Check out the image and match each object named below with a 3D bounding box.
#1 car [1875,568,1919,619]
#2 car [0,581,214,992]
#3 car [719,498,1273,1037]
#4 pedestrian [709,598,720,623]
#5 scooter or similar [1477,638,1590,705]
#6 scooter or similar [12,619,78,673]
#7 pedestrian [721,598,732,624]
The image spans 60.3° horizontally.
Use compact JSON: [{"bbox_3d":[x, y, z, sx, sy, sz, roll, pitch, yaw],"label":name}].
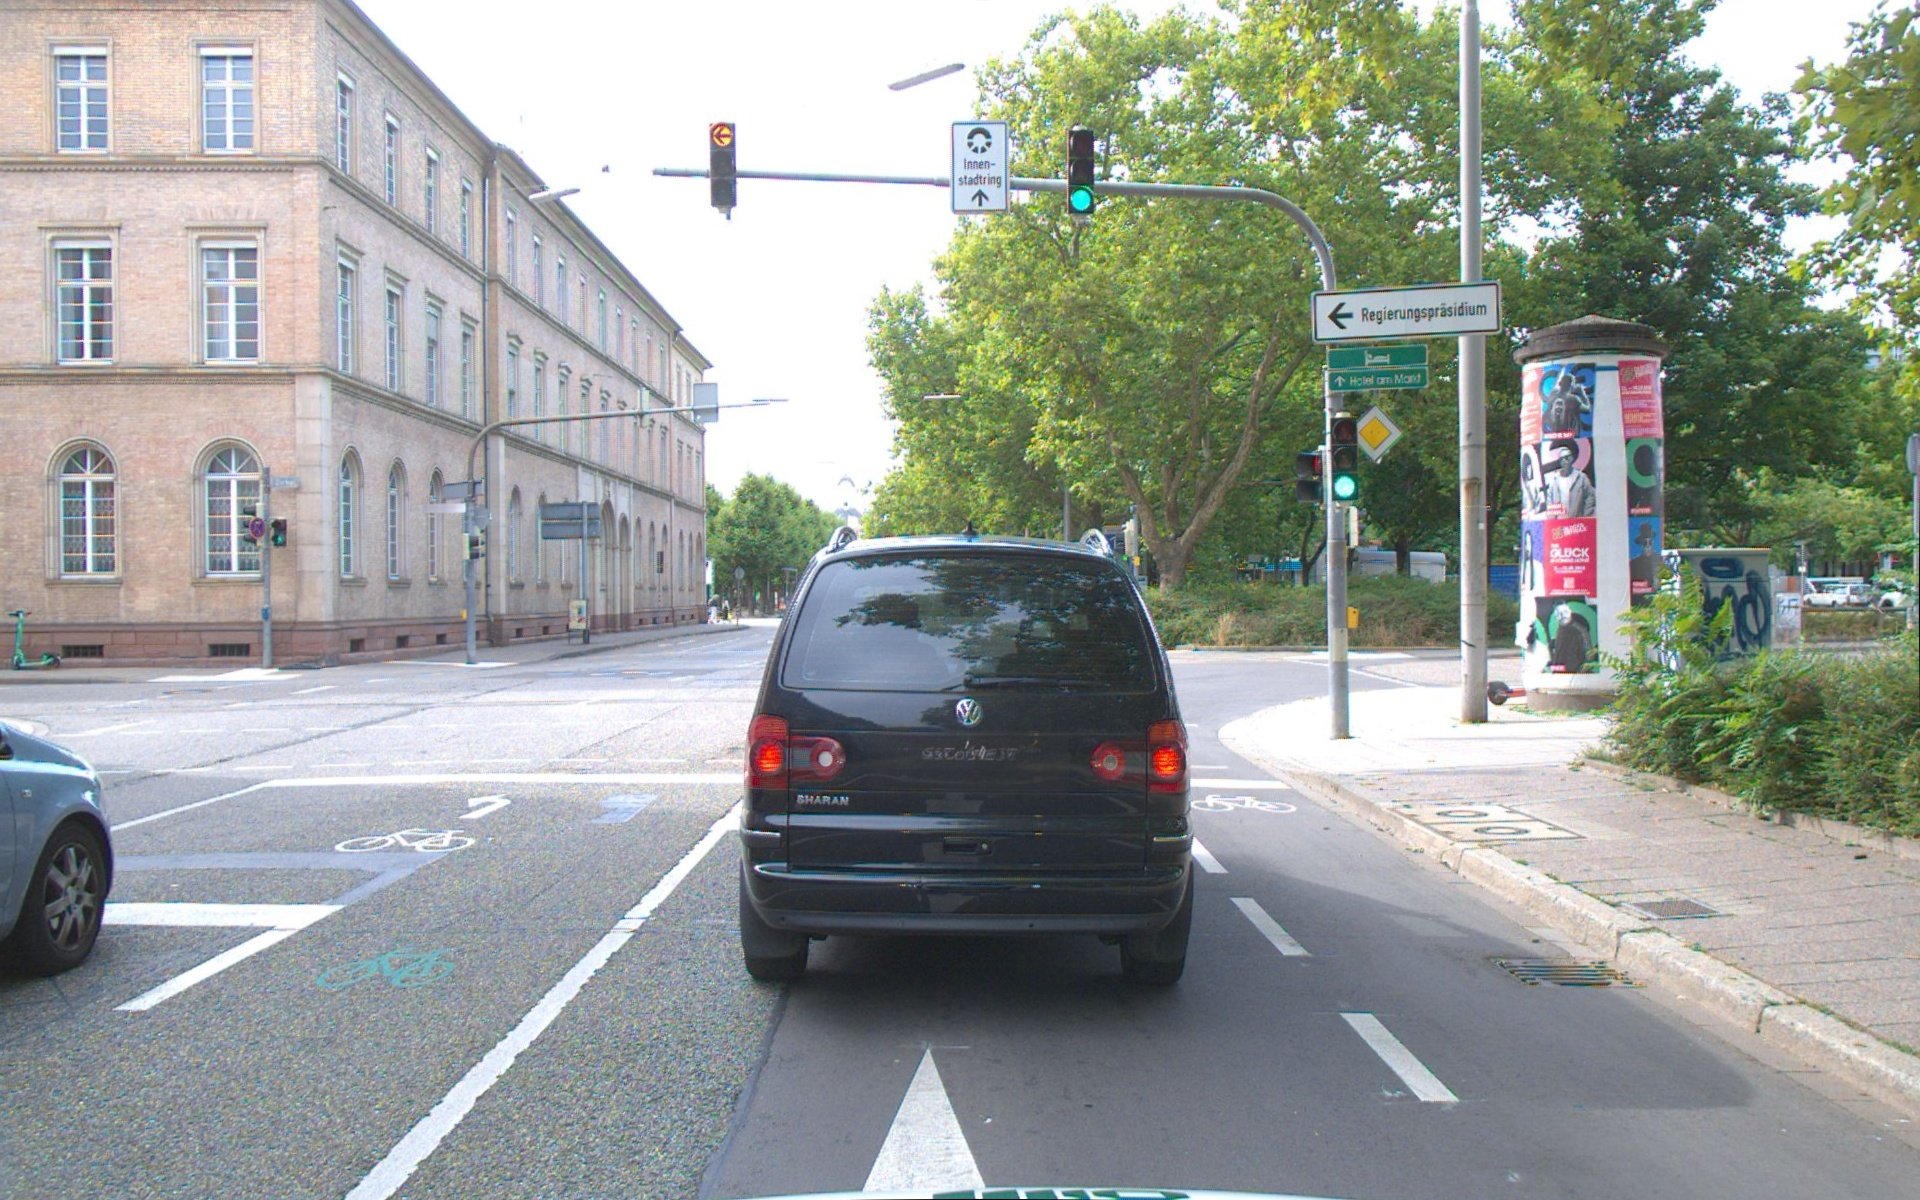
[{"bbox_3d":[32.515,-0.238,54.851,1.922,1.680,4.151,-1,0,-3],"label":"car"},{"bbox_3d":[-4.226,0.692,5.393,1.678,1.445,4.252,-2,0,-1],"label":"car"},{"bbox_3d":[0.075,0.531,7.793,1.836,1.775,4.572,0,0,-1],"label":"car"},{"bbox_3d":[-14.373,0.636,96.995,0.545,1.460,0.579,-1,0,-1],"label":"pedestrian"},{"bbox_3d":[6.716,0.829,19.377,1.194,0.749,0.369,-1,0,-1],"label":"scooter or similar"},{"bbox_3d":[-18.314,0.914,33.112,1.115,1.068,0.379,-1,-1,-1],"label":"scooter or similar"},{"bbox_3d":[-13.646,0.637,96.630,0.545,1.460,0.579,-1,0,-1],"label":"pedestrian"}]
